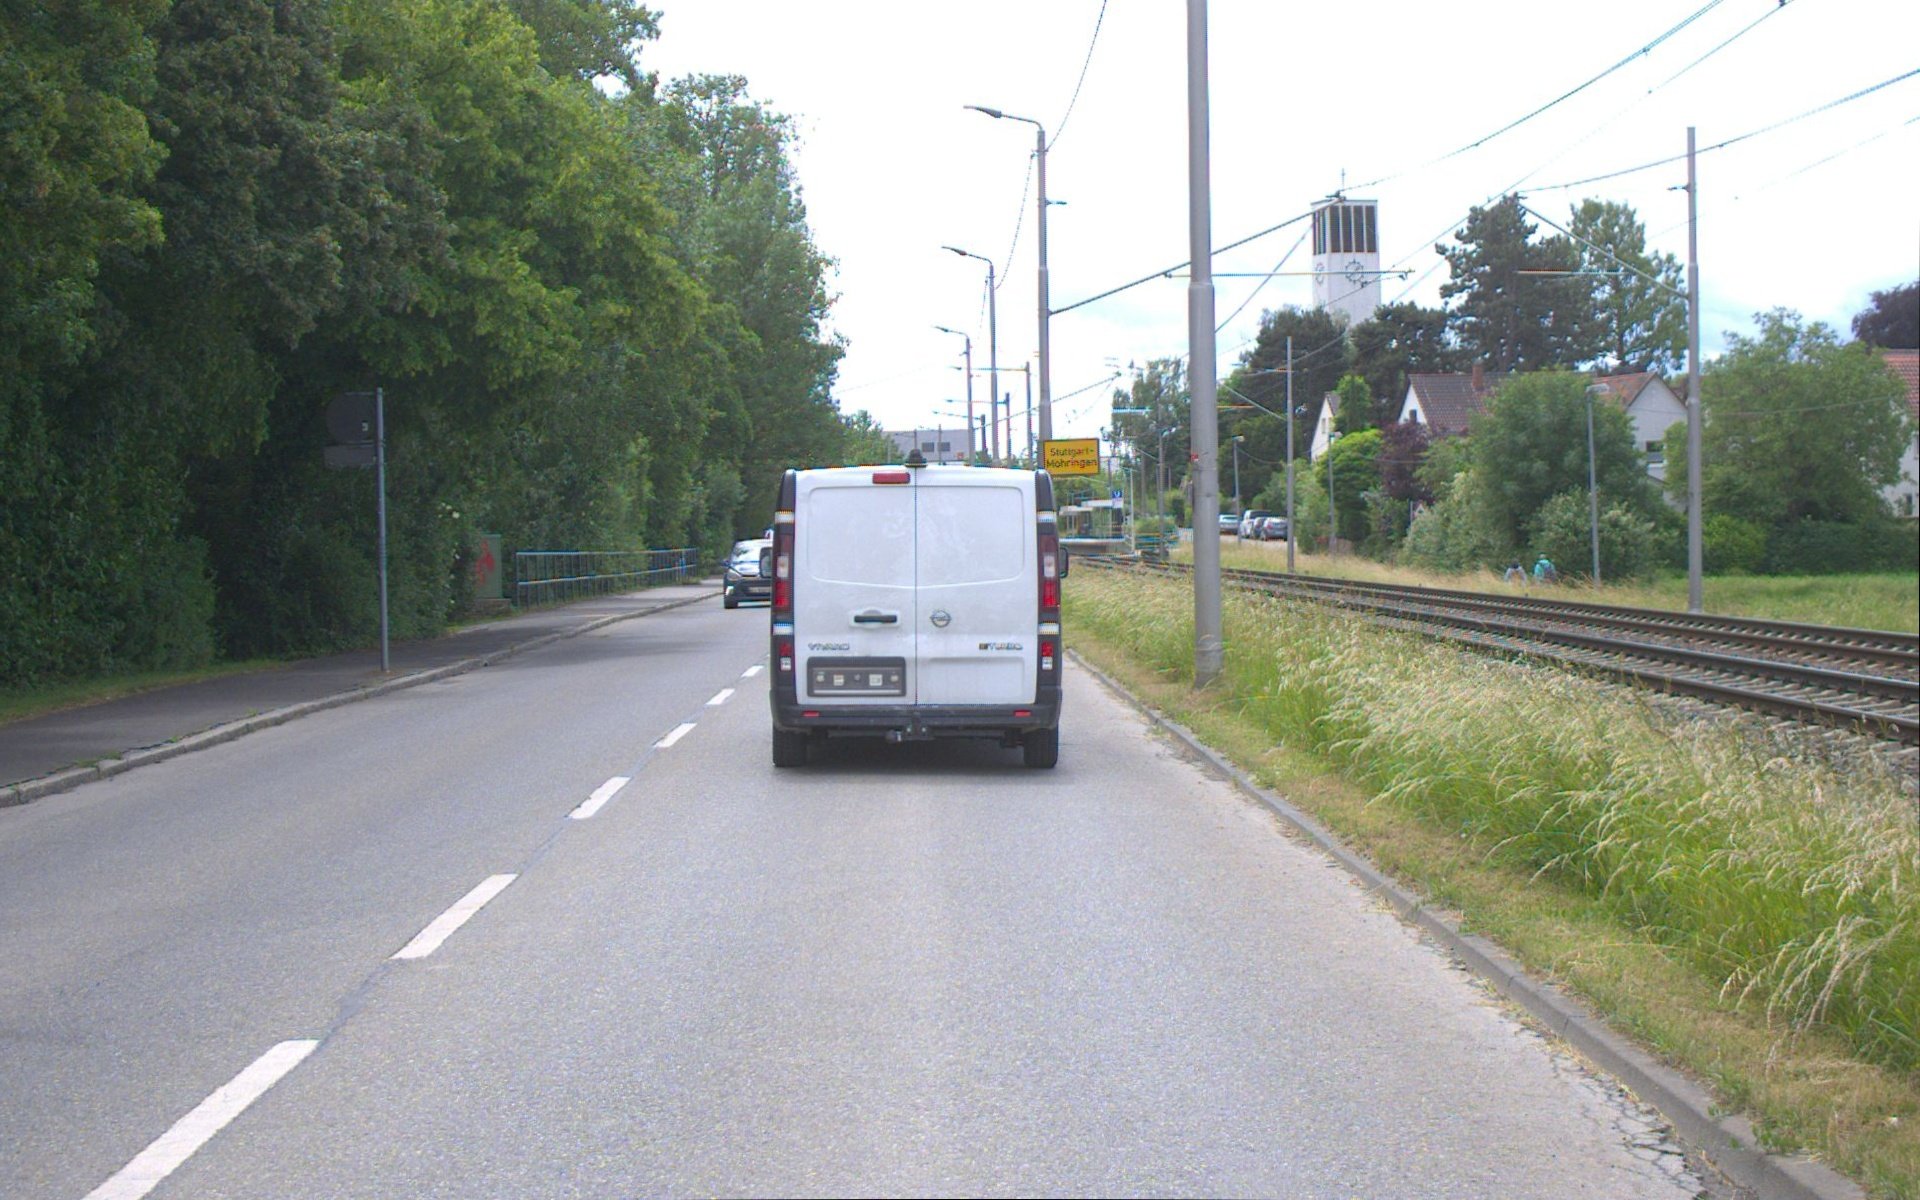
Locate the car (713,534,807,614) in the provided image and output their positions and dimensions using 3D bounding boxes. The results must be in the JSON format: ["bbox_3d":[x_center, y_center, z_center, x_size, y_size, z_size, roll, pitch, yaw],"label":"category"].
[{"bbox_3d":[-4.418,-0.587,76.396,1.993,1.711,4.124,-1,1,-2],"label":"car"}]

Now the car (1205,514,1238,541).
[{"bbox_3d":[18.977,-5.262,249.529,1.993,1.810,4.000,1,0,-2],"label":"car"}]

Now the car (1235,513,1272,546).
[{"bbox_3d":[19.408,-4.666,227.365,1.993,2.007,4.000,1,0,-2],"label":"car"}]

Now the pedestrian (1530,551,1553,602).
[{"bbox_3d":[17.305,-0.701,102.319,0.526,1.501,0.657,-1,1,-1],"label":"pedestrian"}]

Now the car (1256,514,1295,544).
[{"bbox_3d":[19.910,-4.478,216.985,1.993,1.711,4.000,1,0,-2],"label":"car"}]

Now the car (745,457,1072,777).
[{"bbox_3d":[-0.378,0.045,23.088,1.993,1.950,4.001,0,2,-2],"label":"car"}]

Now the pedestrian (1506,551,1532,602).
[{"bbox_3d":[16.669,-0.710,102.541,0.656,1.501,0.657,-1,1,-1],"label":"pedestrian"}]

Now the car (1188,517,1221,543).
[{"bbox_3d":[18.282,-5.247,257.130,1.993,1.810,4.000,1,0,-2],"label":"car"}]

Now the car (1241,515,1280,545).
[{"bbox_3d":[19.482,-4.533,223.021,1.993,1.810,4.000,1,0,-2],"label":"car"}]
